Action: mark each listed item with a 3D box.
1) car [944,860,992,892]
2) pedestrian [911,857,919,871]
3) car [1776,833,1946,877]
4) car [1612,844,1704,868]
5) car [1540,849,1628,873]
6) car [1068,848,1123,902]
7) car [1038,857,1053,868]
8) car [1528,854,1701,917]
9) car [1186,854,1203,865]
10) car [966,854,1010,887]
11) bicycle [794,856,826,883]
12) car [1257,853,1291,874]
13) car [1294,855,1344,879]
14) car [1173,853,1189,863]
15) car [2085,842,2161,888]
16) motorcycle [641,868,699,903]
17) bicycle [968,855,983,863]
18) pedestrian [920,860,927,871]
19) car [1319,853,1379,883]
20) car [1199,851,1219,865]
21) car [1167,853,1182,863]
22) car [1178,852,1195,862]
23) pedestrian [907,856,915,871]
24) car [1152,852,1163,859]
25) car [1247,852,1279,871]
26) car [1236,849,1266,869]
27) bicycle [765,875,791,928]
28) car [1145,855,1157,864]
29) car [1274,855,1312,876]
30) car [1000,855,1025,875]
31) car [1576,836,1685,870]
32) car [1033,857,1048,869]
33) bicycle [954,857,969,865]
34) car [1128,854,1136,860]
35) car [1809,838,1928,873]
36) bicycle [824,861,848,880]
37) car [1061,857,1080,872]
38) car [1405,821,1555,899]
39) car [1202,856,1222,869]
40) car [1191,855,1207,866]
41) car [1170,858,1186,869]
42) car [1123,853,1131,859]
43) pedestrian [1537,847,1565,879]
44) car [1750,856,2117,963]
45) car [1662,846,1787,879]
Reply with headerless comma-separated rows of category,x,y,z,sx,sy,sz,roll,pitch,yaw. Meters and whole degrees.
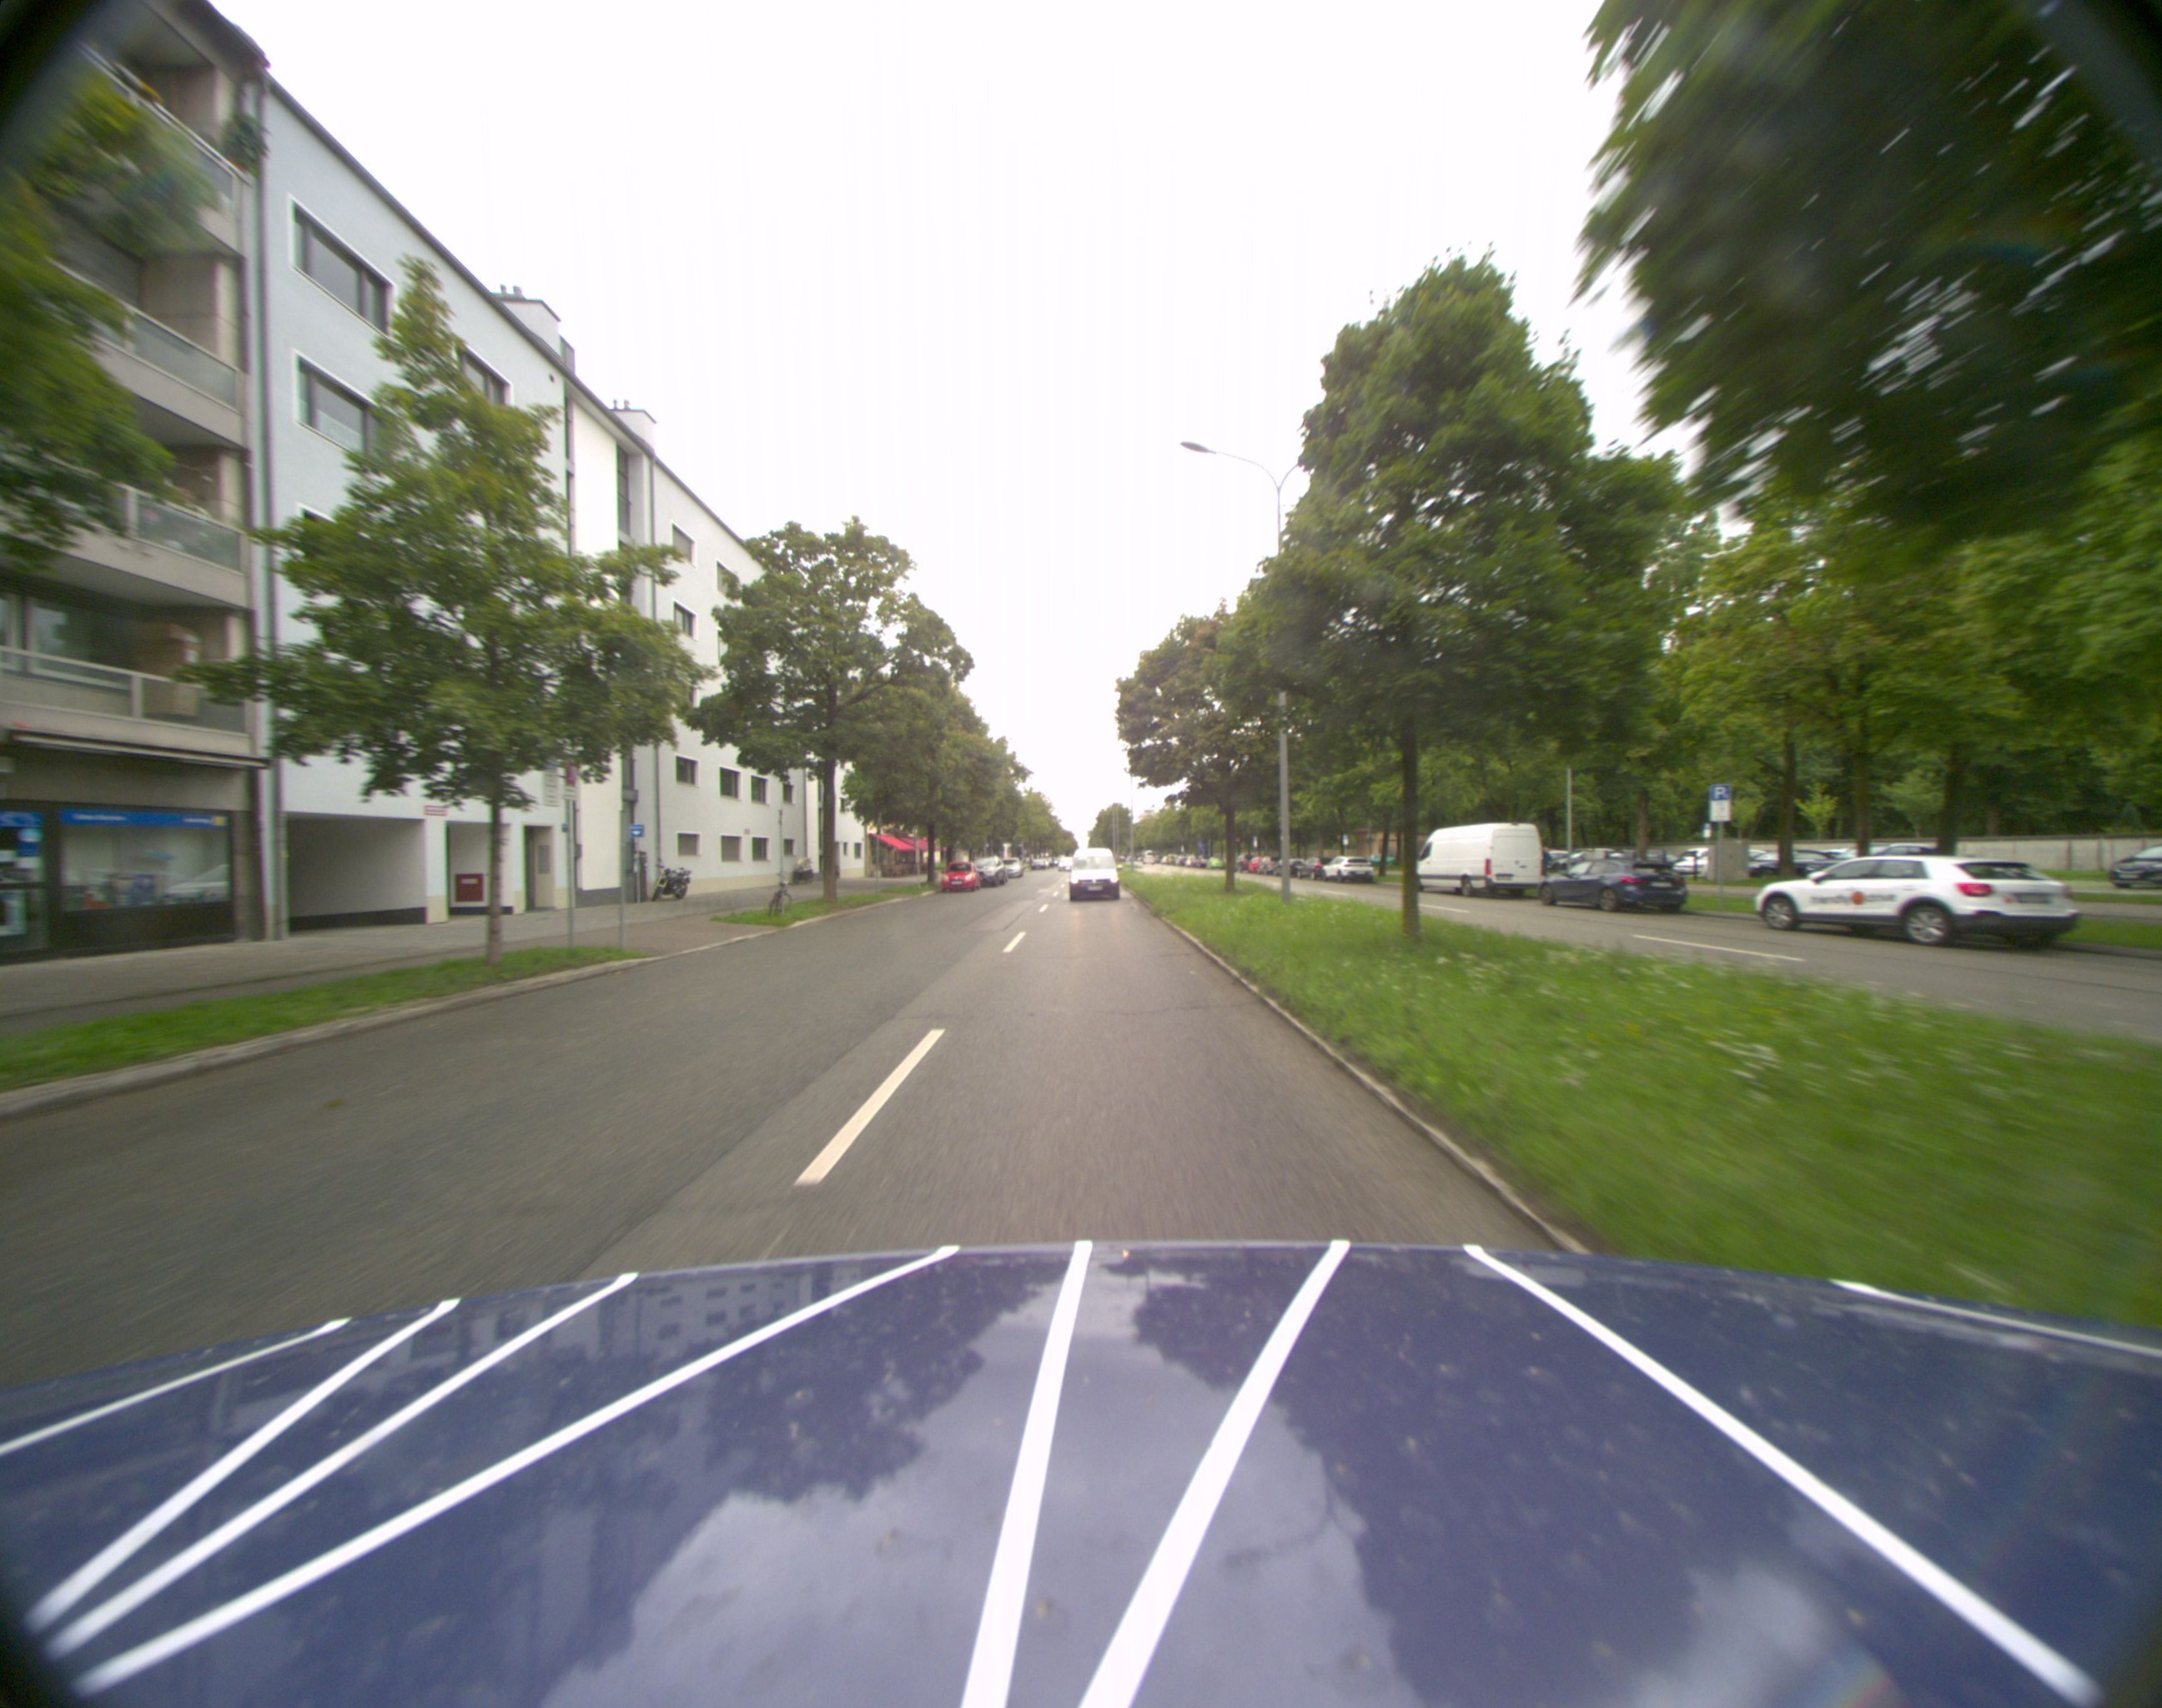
car,-5.632,1.075,38.309,1.524,1.433,4.001,-2,0,4
pedestrian,-14.925,0.865,68.388,0.539,1.260,0.487,-1,1,0
car,27.531,0.038,26.934,3.995,1.429,1.815,-1,0,5
car,37.898,0.152,49.957,4.517,1.434,2.000,-1,0,0
car,28.372,0.408,42.917,3.999,1.251,1.689,-1,0,-6
car,0.492,0.716,28.068,1.772,1.742,4.545,-3,0,0
car,-5.024,1.227,108.774,1.826,1.428,4.287,-3,0,1
car,14.813,0.794,21.418,1.862,1.482,4.250,-1,1,-1
car,16.000,0.772,107.595,1.826,1.468,4.260,1,0,1
car,-5.337,0.890,43.979,1.834,1.736,4.508,-1,0,1
bicycle,-14.526,0.813,40.834,0.704,1.399,2.592,2,0,1
car,15.272,0.731,60.287,1.826,1.590,4.113,-1,0,2
car,15.107,0.803,48.423,1.826,1.439,3.999,0,0,-2
car,15.658,0.591,119.261,1.826,1.461,4.300,0,0,-2
car,39.864,0.372,27.787,3.997,1.587,1.770,-1,1,-1
motorcycle,-14.172,1.066,26.256,0.763,1.079,2.199,-1,0,1
bicycle,-15.279,0.684,109.791,2.032,1.061,0.663,-1,1,-4
pedestrian,-14.730,1.055,70.938,0.539,1.048,0.487,-1,1,1
car,15.151,0.768,43.157,1.826,1.519,4.298,0,1,-1
car,16.151,0.488,96.142,1.826,1.621,4.456,0,0,0
car,16.015,0.711,130.584,1.862,1.761,4.533,0,0,-2
car,15.698,0.455,112.936,1.826,1.438,3.787,1,0,-2
pedestrian,-15.013,0.846,67.170,0.539,1.331,0.552,-1,1,0
car,16.373,0.380,162.585,1.717,1.401,4.041,0,0,-2
car,15.712,0.637,65.702,1.826,1.471,3.808,-1,1,-1
car,15.668,0.431,70.166,1.826,1.690,4.238,-1,1,-1
bicycle,-8.010,1.224,20.111,0.456,1.248,2.146,-1,0,-18
car,12.906,0.970,140.640,1.855,1.591,4.402,1,0,1
car,15.243,0.824,54.877,1.825,1.401,4.000,1,0,3
car,-5.603,0.889,62.282,1.834,1.513,4.522,-2,0,-3
car,26.960,-0.054,37.349,3.996,1.561,1.815,-1,0,2
car,-5.203,1.202,97.737,1.648,1.468,3.956,-2,0,-1
bicycle,-17.761,1.007,112.847,2.032,1.061,0.663,-1,1,-4
car,13.802,0.699,205.051,1.826,1.544,3.721,-1,0,2
car,39.523,0.092,38.216,3.995,1.643,1.771,-1,1,5
bicycle,-14.600,0.996,45.306,0.623,1.040,2.195,3,0,1
car,-1.159,1.161,85.750,1.984,1.591,4.402,1,0,1
car,15.052,0.220,29.368,2.145,2.628,7.105,0,0,1
car,15.115,0.987,87.912,1.644,1.490,4.000,0,0,2
car,15.871,0.822,102.049,1.654,1.414,3.687,1,0,1
car,15.970,1.561,124.697,2.007,1.607,4.041,0,0,-2
car,11.462,0.578,190.265,1.820,1.440,4.781,0,0,0
pedestrian,22.218,0.416,35.906,0.797,1.487,0.856,-1,1,1
car,14.695,0.841,13.543,1.862,1.482,4.141,-1,1,-1
car,28.691,0.366,33.963,3.996,1.331,1.815,-1,0,3
